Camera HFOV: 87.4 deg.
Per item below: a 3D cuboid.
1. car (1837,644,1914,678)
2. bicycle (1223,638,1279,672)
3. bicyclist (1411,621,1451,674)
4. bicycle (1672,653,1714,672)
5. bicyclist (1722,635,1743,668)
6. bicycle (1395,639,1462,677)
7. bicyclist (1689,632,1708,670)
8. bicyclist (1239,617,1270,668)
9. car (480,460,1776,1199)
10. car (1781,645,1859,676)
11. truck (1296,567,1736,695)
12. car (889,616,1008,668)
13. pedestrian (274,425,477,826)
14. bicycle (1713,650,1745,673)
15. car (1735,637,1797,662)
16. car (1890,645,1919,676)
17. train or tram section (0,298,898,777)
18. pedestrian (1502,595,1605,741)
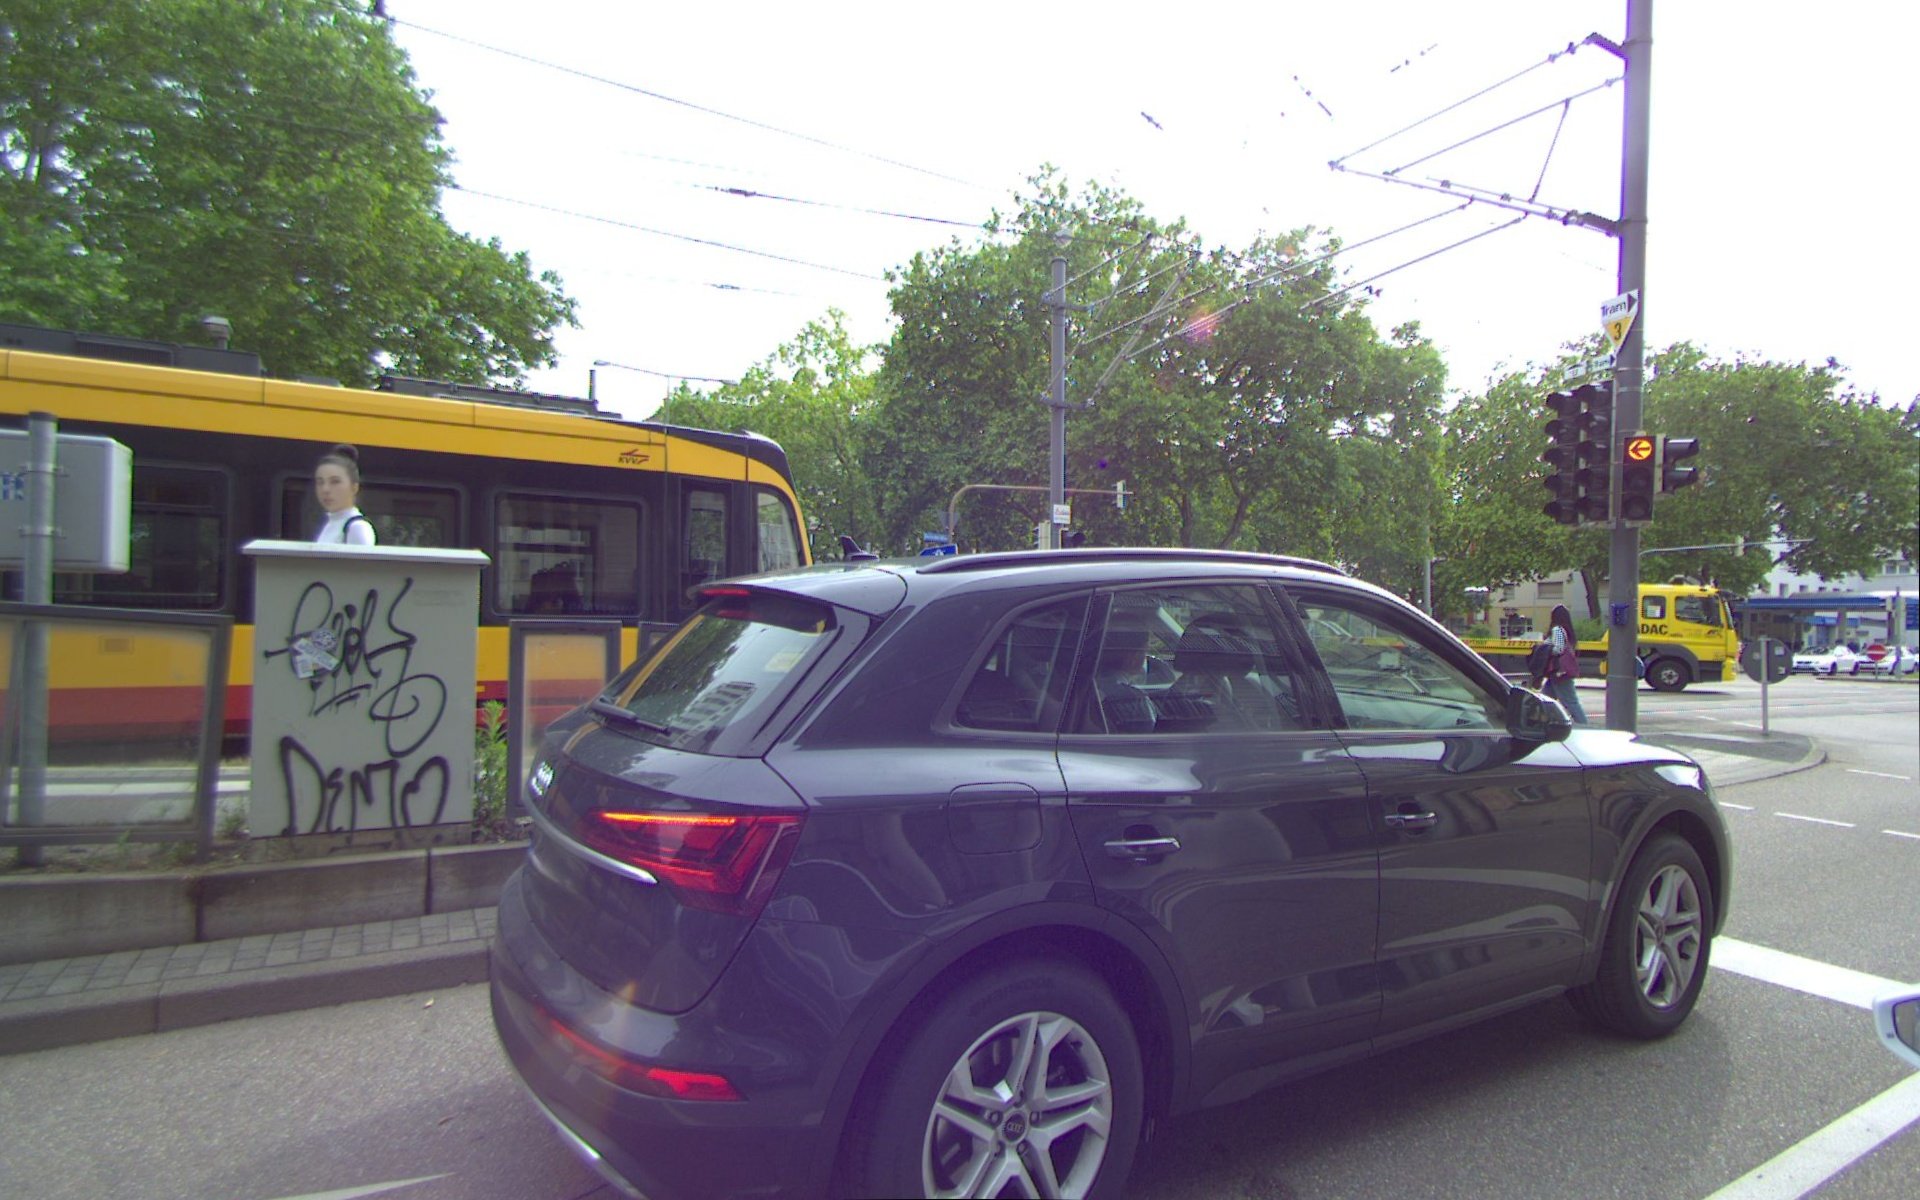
[{"bbox_3d":[46.871,3.095,51.426,3.792,1.578,1.885,2,0,-30],"label":"car"},{"bbox_3d":[10.862,2.051,37.489,1.873,1.158,0.627,2,0,32],"label":"bicycle"},{"bbox_3d":[15.805,1.595,33.720,1.026,1.706,0.641,2,0,41],"label":"bicyclist"},{"bbox_3d":[35.892,3.060,49.232,0.644,0.783,1.682,2,0,-9],"label":"bicycle"},{"bbox_3d":[37.241,2.474,48.418,0.611,1.588,0.585,2,0,-30],"label":"bicyclist"},{"bbox_3d":[15.750,1.942,33.786,1.914,1.151,0.732,2,0,40],"label":"bicycle"},{"bbox_3d":[36.034,2.481,49.028,0.461,1.807,0.534,2,0,-10],"label":"bicyclist"},{"bbox_3d":[10.961,1.585,37.420,0.951,1.843,0.531,2,0,32],"label":"bicyclist"},{"bbox_3d":[0.795,0.656,3.526,4.308,1.622,1.870,2,-1,-31],"label":"car"},{"bbox_3d":[41.385,2.905,48.321,3.954,1.343,1.626,2,0,-31],"label":"car"},{"bbox_3d":[14.595,0.673,27.328,9.999,2.980,2.632,1,0,31],"label":"truck"},{"bbox_3d":[-0.516,1.754,43.130,4.798,1.993,1.983,2,0,35],"label":"car"},{"bbox_3d":[-2.725,0.116,4.725,0.722,1.683,0.750,2,0,-30],"label":"pedestrian"},{"bbox_3d":[36.971,2.962,48.268,1.914,1.031,0.519,2,0,-30],"label":"bicycle"},{"bbox_3d":[54.717,3.371,68.165,3.954,1.550,1.984,2,0,-30],"label":"car"},{"bbox_3d":[52.821,3.321,54.903,3.792,1.578,1.885,2,0,-30],"label":"car"},{"bbox_3d":[-8.244,-0.493,8.845,15.665,3.636,3.045,2,0,-31],"label":"train or tram section"},{"bbox_3d":[7.274,0.812,12.344,0.851,1.702,0.673,2,0,9],"label":"pedestrian"}]
